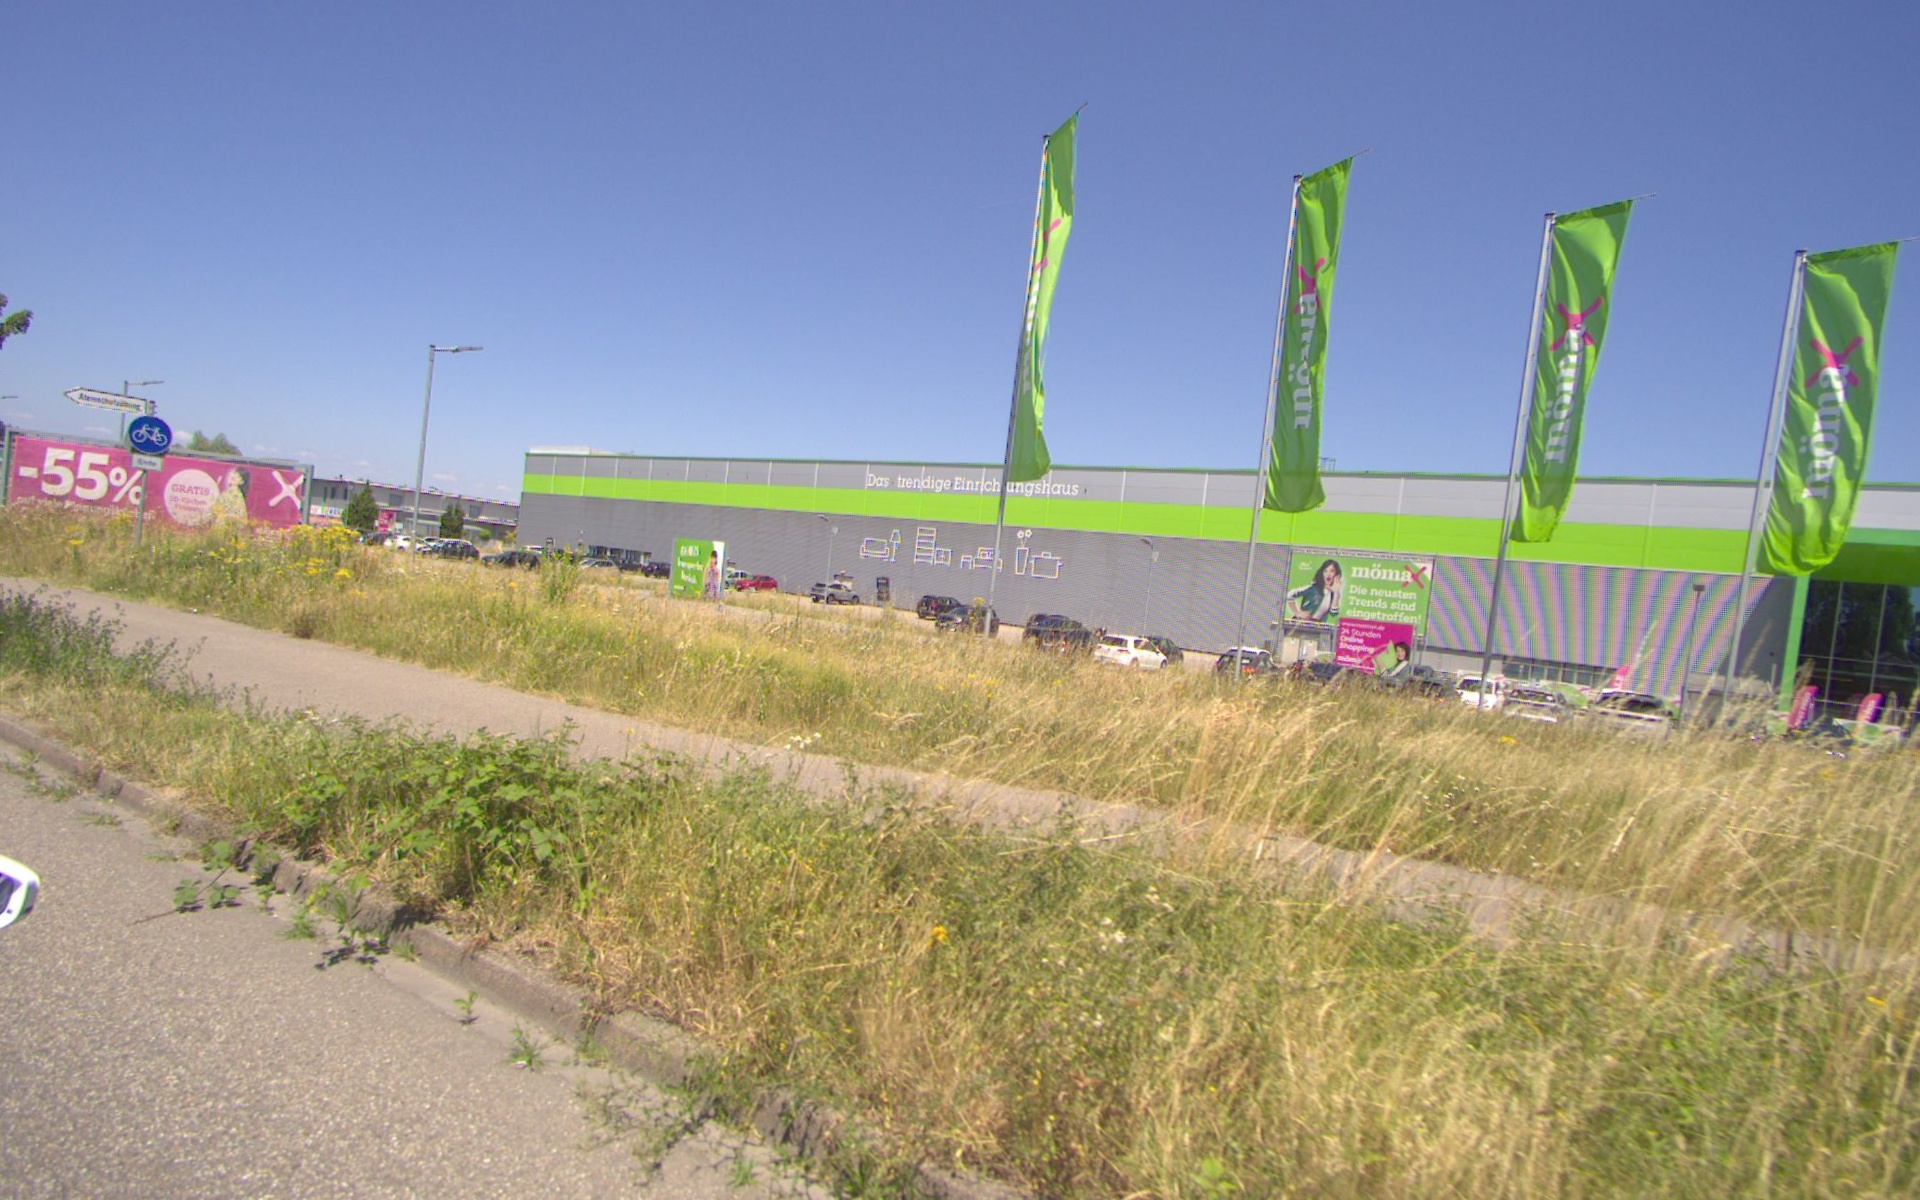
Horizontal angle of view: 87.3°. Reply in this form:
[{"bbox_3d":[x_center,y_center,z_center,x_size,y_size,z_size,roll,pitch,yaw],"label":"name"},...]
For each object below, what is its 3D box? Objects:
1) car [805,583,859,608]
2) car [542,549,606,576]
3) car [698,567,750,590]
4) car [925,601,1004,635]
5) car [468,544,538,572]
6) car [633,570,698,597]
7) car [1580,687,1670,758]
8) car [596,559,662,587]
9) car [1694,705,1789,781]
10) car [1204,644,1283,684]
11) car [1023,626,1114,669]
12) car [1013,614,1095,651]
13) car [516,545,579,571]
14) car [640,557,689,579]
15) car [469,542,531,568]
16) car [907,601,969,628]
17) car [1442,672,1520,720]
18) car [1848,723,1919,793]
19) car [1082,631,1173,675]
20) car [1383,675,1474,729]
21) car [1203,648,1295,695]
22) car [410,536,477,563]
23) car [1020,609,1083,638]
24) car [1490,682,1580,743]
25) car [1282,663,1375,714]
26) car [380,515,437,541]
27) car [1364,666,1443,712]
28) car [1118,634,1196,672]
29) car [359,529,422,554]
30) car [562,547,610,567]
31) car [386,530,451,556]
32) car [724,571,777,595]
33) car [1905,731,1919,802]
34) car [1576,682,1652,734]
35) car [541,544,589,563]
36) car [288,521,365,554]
[{"bbox_3d":[-9.940,-0.336,78.314,1.968,1.538,3.987,5,0,34],"label":"car"},{"bbox_3d":[-28.977,-2.804,75.539,1.968,1.538,3.987,5,0,34],"label":"car"},{"bbox_3d":[-20.081,-1.823,85.755,1.968,1.493,3.987,5,0,34],"label":"car"},{"bbox_3d":[0.286,1.014,55.198,1.970,1.538,4.404,5,0,37],"label":"car"},{"bbox_3d":[-32.228,-2.961,70.996,1.968,1.493,3.987,5,0,34],"label":"car"},{"bbox_3d":[-20.708,-1.145,70.854,1.968,1.538,3.989,5,0,33],"label":"car"},{"bbox_3d":[20.260,3.637,30.593,1.887,1.718,3.983,6,1,37],"label":"car"},{"bbox_3d":[-23.548,-1.928,71.641,1.968,1.538,3.987,5,0,34],"label":"car"},{"bbox_3d":[22.420,4.033,28.940,1.887,1.675,3.983,6,1,37],"label":"car"},{"bbox_3d":[12.579,2.833,44.514,1.918,1.524,3.983,6,1,37],"label":"car"},{"bbox_3d":[4.612,2.023,42.359,1.918,1.550,3.983,6,1,37],"label":"car"},{"bbox_3d":[4.771,1.679,50.633,1.970,1.538,4.404,5,0,37],"label":"car"},{"bbox_3d":[-31.617,-3.227,77.246,1.968,1.538,3.987,5,0,34],"label":"car"},{"bbox_3d":[-27.211,-2.953,92.710,1.968,1.538,3.987,5,0,34],"label":"car"},{"bbox_3d":[-36.224,-3.541,79.311,1.968,1.538,3.987,5,0,34],"label":"car"},{"bbox_3d":[-1.491,1.012,71.052,1.968,1.538,4.652,5,0,34],"label":"car"},{"bbox_3d":[20.319,3.700,39.161,1.918,1.524,3.983,6,1,37],"label":"car"},{"bbox_3d":[28.555,4.789,30.603,1.887,1.675,3.983,6,1,37],"label":"car"},{"bbox_3d":[6.866,2.178,41.066,1.918,1.550,3.983,6,1,37],"label":"car"},{"bbox_3d":[15.949,3.405,34.158,1.887,1.480,3.983,6,1,37],"label":"car"},{"bbox_3d":[10.910,2.666,37.787,1.918,1.480,3.983,6,1,37],"label":"car"},{"bbox_3d":[-38.856,-3.814,75.754,1.968,1.538,3.987,5,0,34],"label":"car"},{"bbox_3d":[5.929,1.531,64.610,1.968,1.538,4.652,5,0,34],"label":"car"},{"bbox_3d":[18.554,3.554,32.406,1.887,1.567,3.983,6,1,37],"label":"car"},{"bbox_3d":[13.135,3.115,35.725,1.918,1.480,3.983,6,1,37],"label":"car"},{"bbox_3d":[-50.314,-6.572,91.858,1.969,1.871,3.986,5,0,36],"label":"car"},{"bbox_3d":[17.934,3.534,40.558,1.918,1.524,3.983,6,1,37],"label":"car"},{"bbox_3d":[9.319,2.534,47.393,1.918,1.524,3.983,6,1,37],"label":"car"},{"bbox_3d":[-46.285,-4.720,81.810,1.969,1.538,3.986,5,0,36],"label":"car"},{"bbox_3d":[-37.336,-4.252,100.405,1.968,1.538,3.987,5,0,34],"label":"car"},{"bbox_3d":[-42.909,-4.522,79.752,1.969,1.538,3.986,5,0,36],"label":"car"},{"bbox_3d":[-17.487,-1.403,84.108,1.968,1.538,3.987,5,0,34],"label":"car"},{"bbox_3d":[25.454,4.379,25.302,1.887,1.675,3.983,6,1,37],"label":"car"},{"bbox_3d":[23.913,3.896,36.736,1.918,1.524,3.983,6,1,37],"label":"car"},{"bbox_3d":[-40.204,-4.714,102.449,1.968,1.538,3.987,5,0,34],"label":"car"},{"bbox_3d":[-41.218,-4.048,65.545,1.862,1.590,3.734,7,0,38],"label":"car"}]
